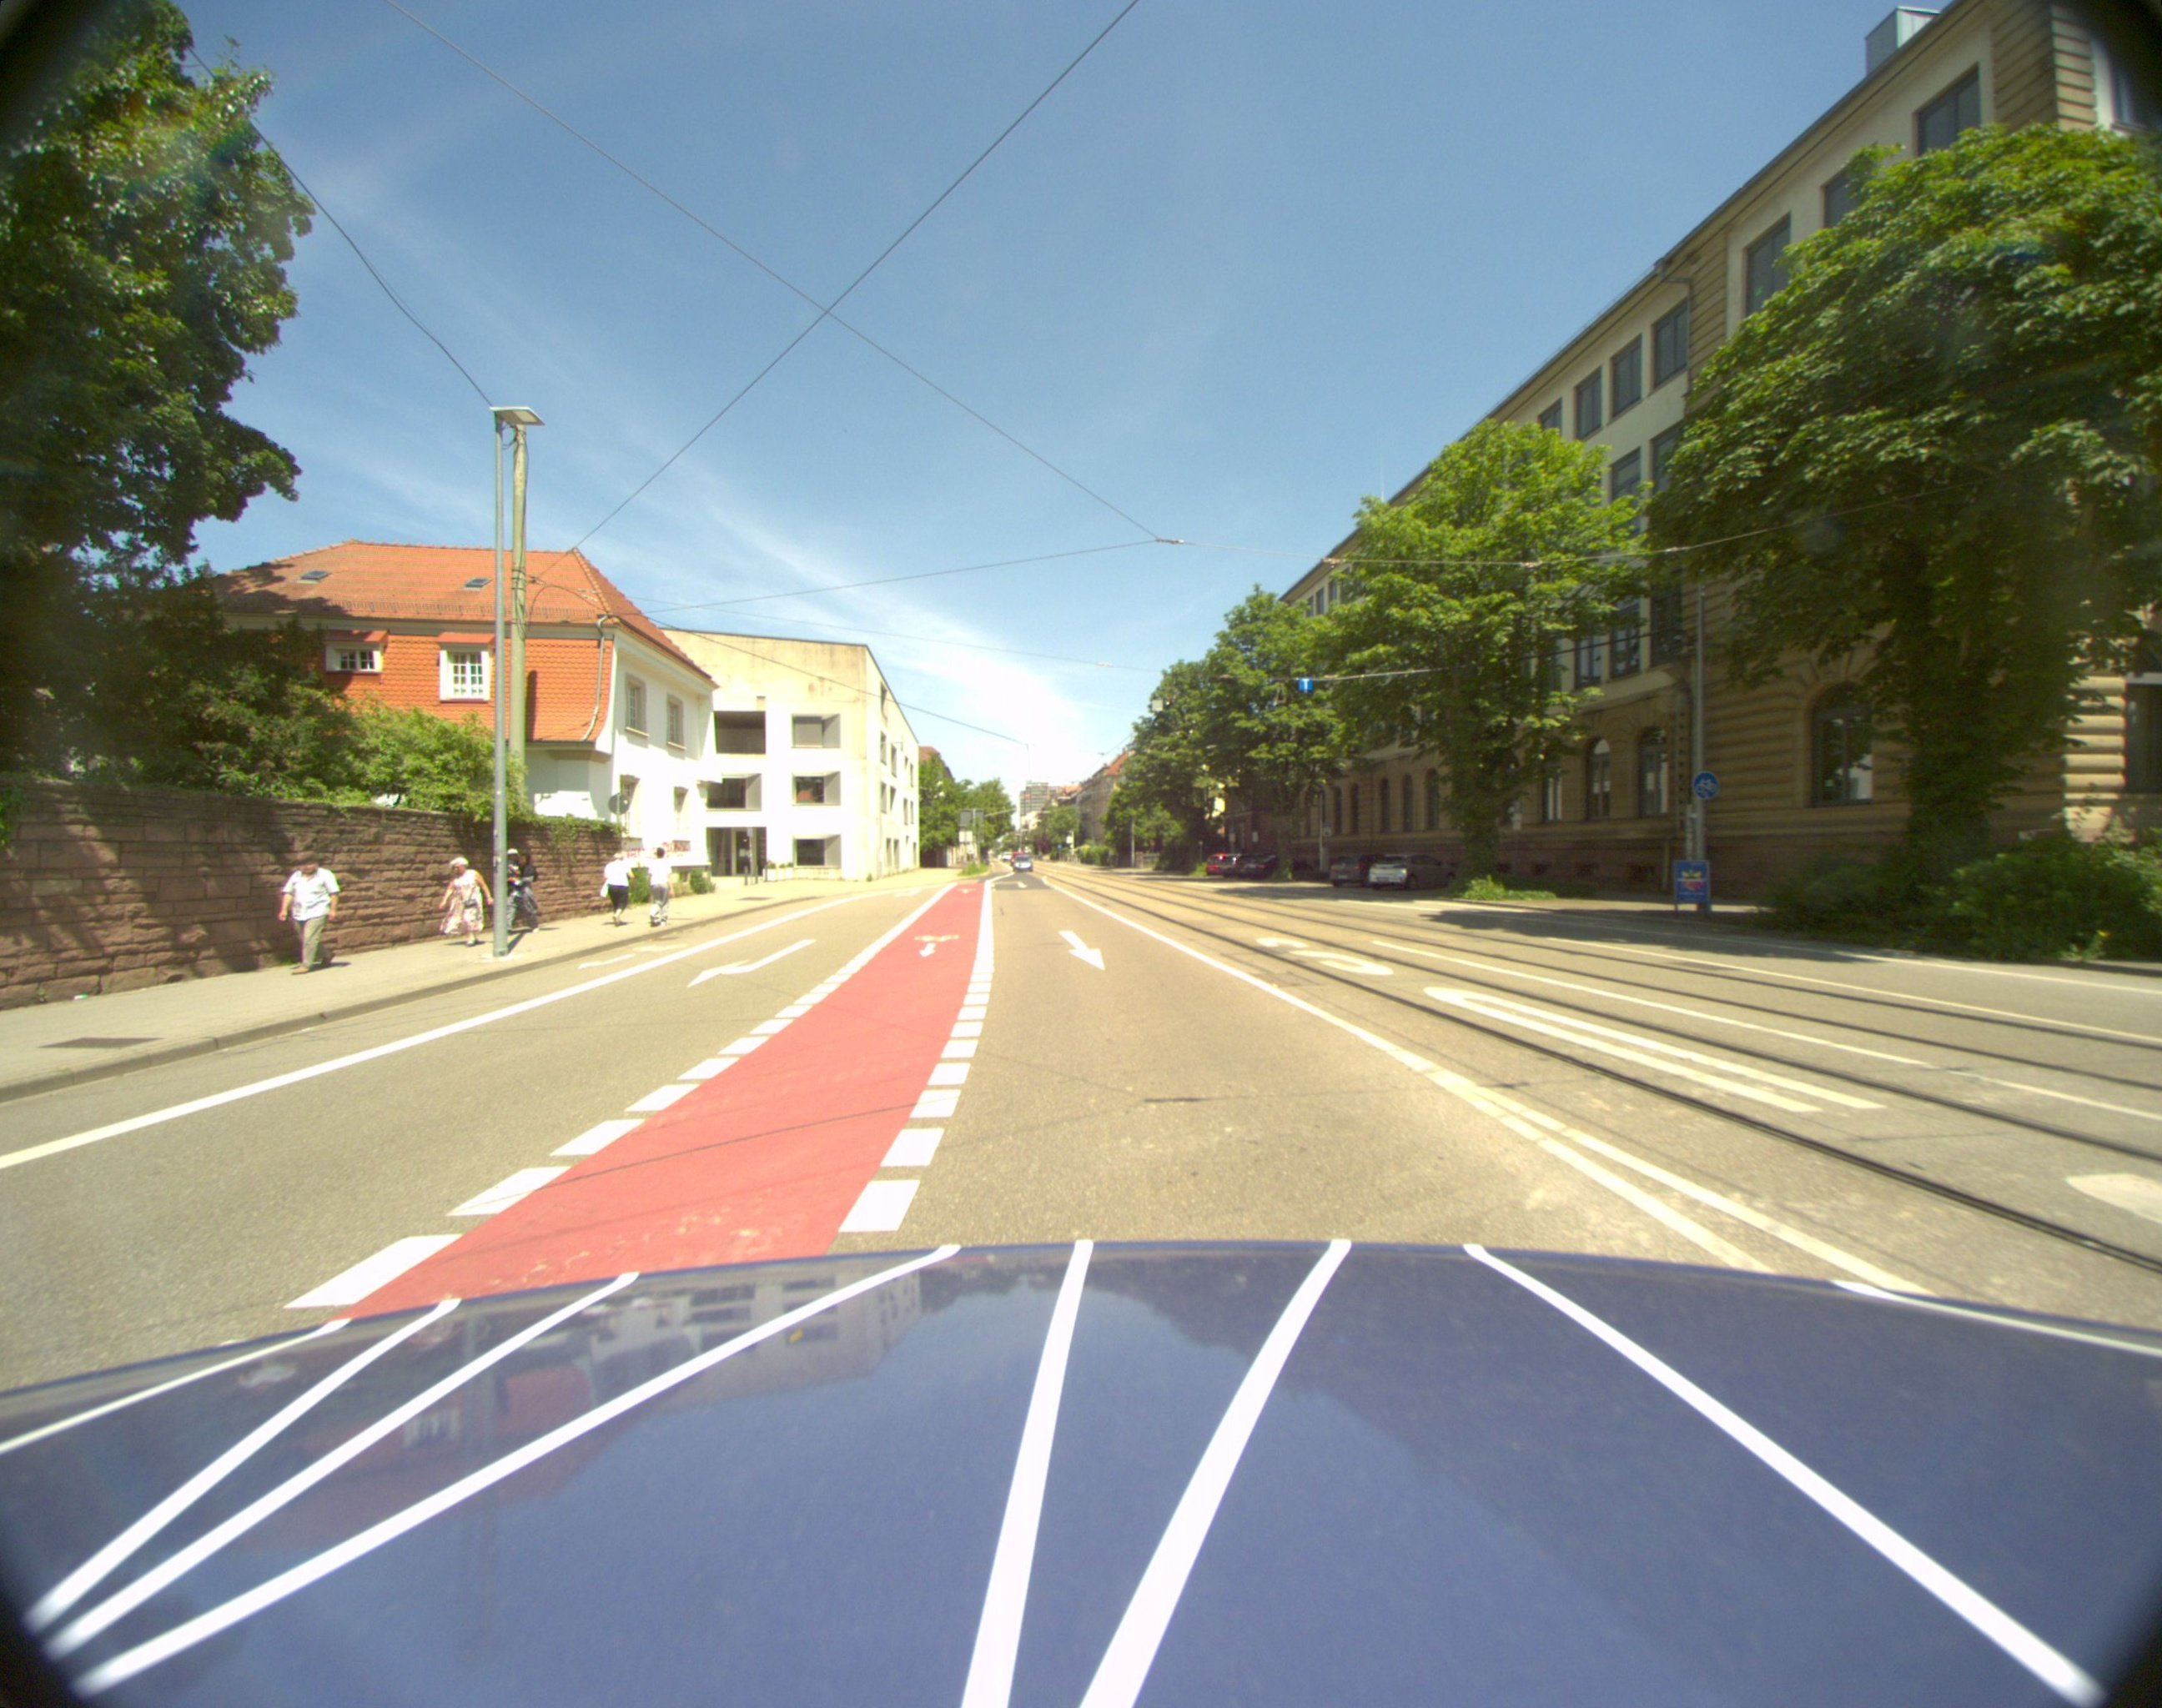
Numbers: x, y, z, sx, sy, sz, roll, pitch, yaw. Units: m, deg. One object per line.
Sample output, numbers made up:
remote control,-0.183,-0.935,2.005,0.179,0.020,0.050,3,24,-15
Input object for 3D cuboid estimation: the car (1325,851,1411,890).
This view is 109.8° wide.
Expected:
car,12.524,0.677,33.122,3.683,1.511,1.665,-2,1,-35

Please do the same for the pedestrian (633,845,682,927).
pedestrian,-9.443,0.703,16.975,0.679,1.797,0.748,0,1,-2

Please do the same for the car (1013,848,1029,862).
car,-7.704,0.141,96.803,1.876,1.638,3.776,-1,1,-7

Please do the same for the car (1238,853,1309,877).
car,11.018,0.606,43.418,3.941,1.366,1.665,0,0,-32

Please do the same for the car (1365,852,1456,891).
car,13.129,0.657,30.252,3.555,1.398,1.697,-1,1,-35

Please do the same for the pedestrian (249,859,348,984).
pedestrian,-10.540,0.885,10.251,0.662,1.637,0.624,0,1,-1

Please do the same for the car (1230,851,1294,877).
car,11.122,0.577,46.594,3.825,1.568,1.789,0,0,-36

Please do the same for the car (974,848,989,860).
car,-13.535,0.053,103.815,1.865,1.568,4.875,-1,0,-6

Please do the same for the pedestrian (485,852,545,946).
pedestrian,-11.012,0.854,14.798,0.719,1.763,0.628,-1,0,-12

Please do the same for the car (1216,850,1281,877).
car,10.927,0.586,49.556,4.330,1.575,1.665,-2,1,-36

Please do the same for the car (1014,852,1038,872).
car,-4.851,0.671,66.888,1.894,1.561,4.034,-1,1,-7

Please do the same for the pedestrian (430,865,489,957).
pedestrian,-10.636,0.965,13.019,0.517,1.524,0.597,0,1,-1

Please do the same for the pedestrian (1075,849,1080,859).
pedestrian,-0.635,-0.041,122.133,0.742,1.632,0.939,0,1,-4

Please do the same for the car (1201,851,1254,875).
car,10.193,0.601,52.803,3.358,1.507,1.665,-2,1,-32

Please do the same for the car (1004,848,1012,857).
car,-14.827,-0.269,154.569,1.620,1.700,3.427,-1,1,-5

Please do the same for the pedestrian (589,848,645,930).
pedestrian,-10.277,0.761,16.858,0.816,1.797,0.700,0,1,-2

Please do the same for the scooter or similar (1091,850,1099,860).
scooter or similar,2.058,0.138,109.918,1.012,1.443,0.596,-1,2,-7
